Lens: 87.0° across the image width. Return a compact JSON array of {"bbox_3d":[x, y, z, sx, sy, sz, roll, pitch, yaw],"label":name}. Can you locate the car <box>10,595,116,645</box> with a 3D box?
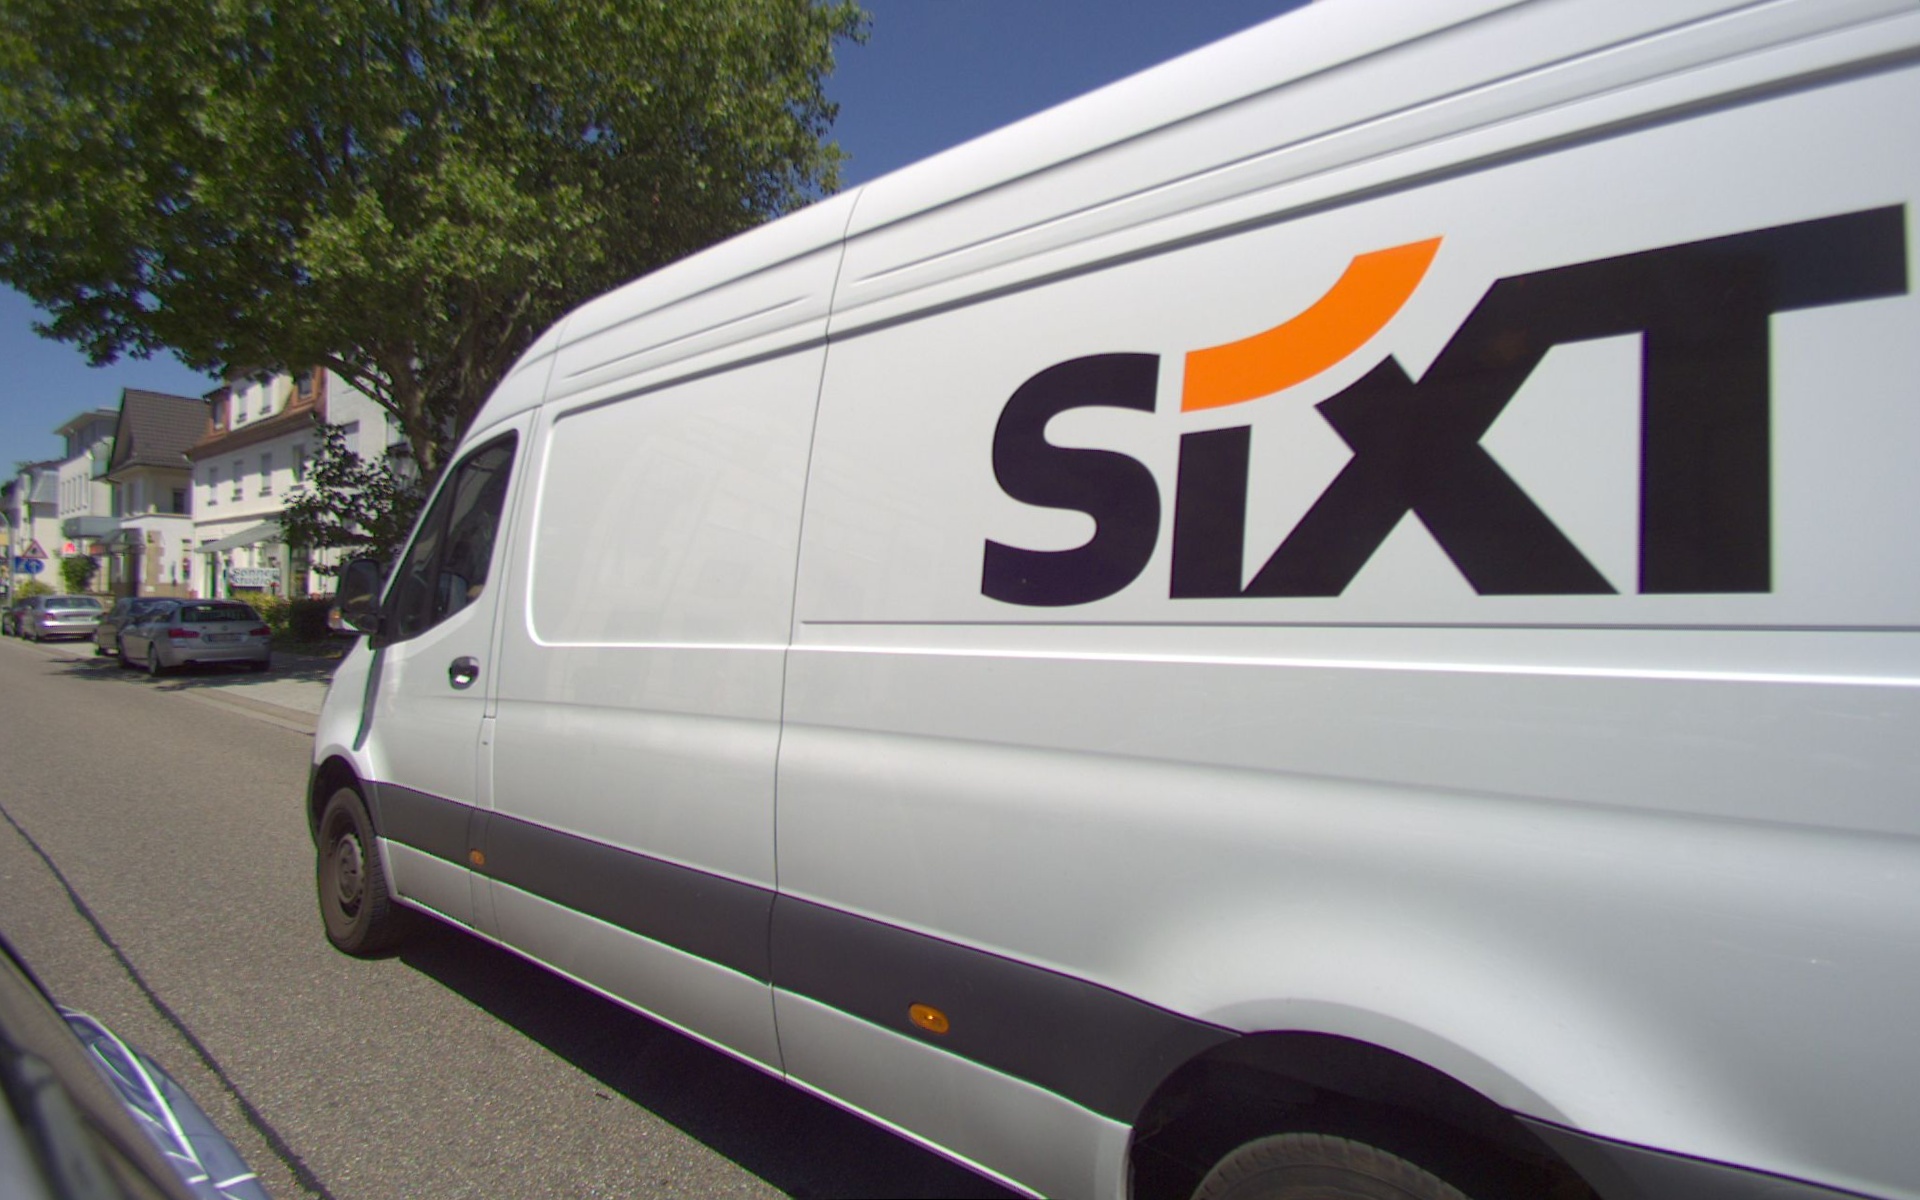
[{"bbox_3d":[-28.694,0.581,32.325,5.356,1.463,1.960,0,0,42],"label":"car"}]

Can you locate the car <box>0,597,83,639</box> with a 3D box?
[{"bbox_3d":[-33.209,0.609,36.378,5.097,1.384,1.921,0,0,42],"label":"car"}]

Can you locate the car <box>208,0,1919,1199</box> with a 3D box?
[{"bbox_3d":[-0.192,0.151,3.259,7.104,2.650,2.015,0,-3,41],"label":"car"}]

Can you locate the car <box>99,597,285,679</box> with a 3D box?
[{"bbox_3d":[-15.637,0.669,20.500,5.147,1.463,1.961,0,0,41],"label":"car"}]

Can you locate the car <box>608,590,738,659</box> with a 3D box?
[{"bbox_3d":[-7.196,0.585,25.142,1.782,1.557,4.115,2,-1,-36],"label":"car"}]

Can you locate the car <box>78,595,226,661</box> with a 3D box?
[{"bbox_3d":[-19.788,0.606,24.706,4.865,1.463,1.961,0,0,41],"label":"car"}]

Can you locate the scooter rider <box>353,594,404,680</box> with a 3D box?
[{"bbox_3d":[-11.056,0.684,19.233,0.877,1.587,0.582,0,1,43],"label":"scooter rider"}]

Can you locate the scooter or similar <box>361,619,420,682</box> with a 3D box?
[{"bbox_3d":[-10.593,0.924,18.815,1.028,1.106,0.656,0,1,43],"label":"scooter or similar"}]
